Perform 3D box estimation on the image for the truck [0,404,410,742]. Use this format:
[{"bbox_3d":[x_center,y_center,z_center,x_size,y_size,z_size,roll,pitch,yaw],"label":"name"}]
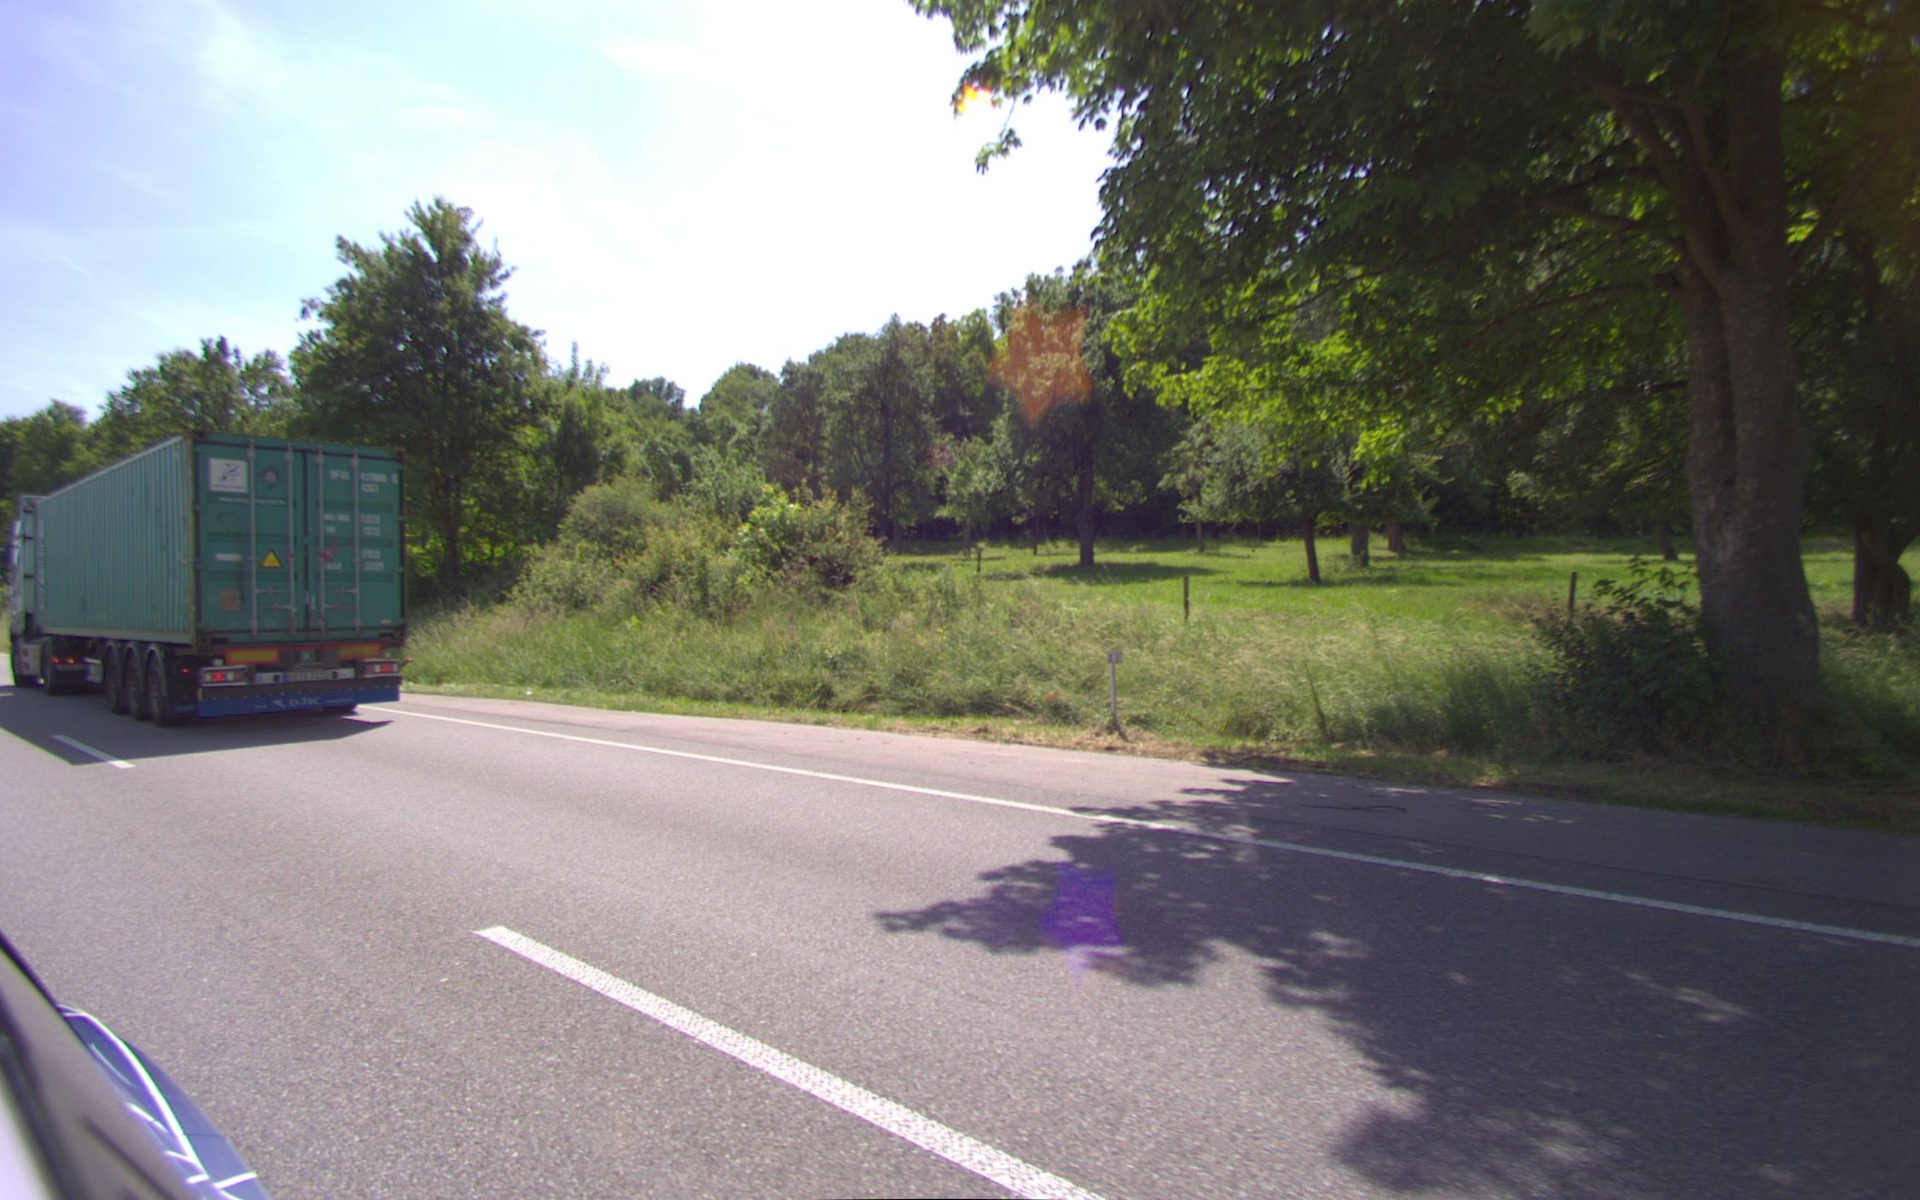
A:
[{"bbox_3d":[-14.440,-0.147,18.139,16.150,3.969,2.534,-2,-1,41],"label":"truck"}]
